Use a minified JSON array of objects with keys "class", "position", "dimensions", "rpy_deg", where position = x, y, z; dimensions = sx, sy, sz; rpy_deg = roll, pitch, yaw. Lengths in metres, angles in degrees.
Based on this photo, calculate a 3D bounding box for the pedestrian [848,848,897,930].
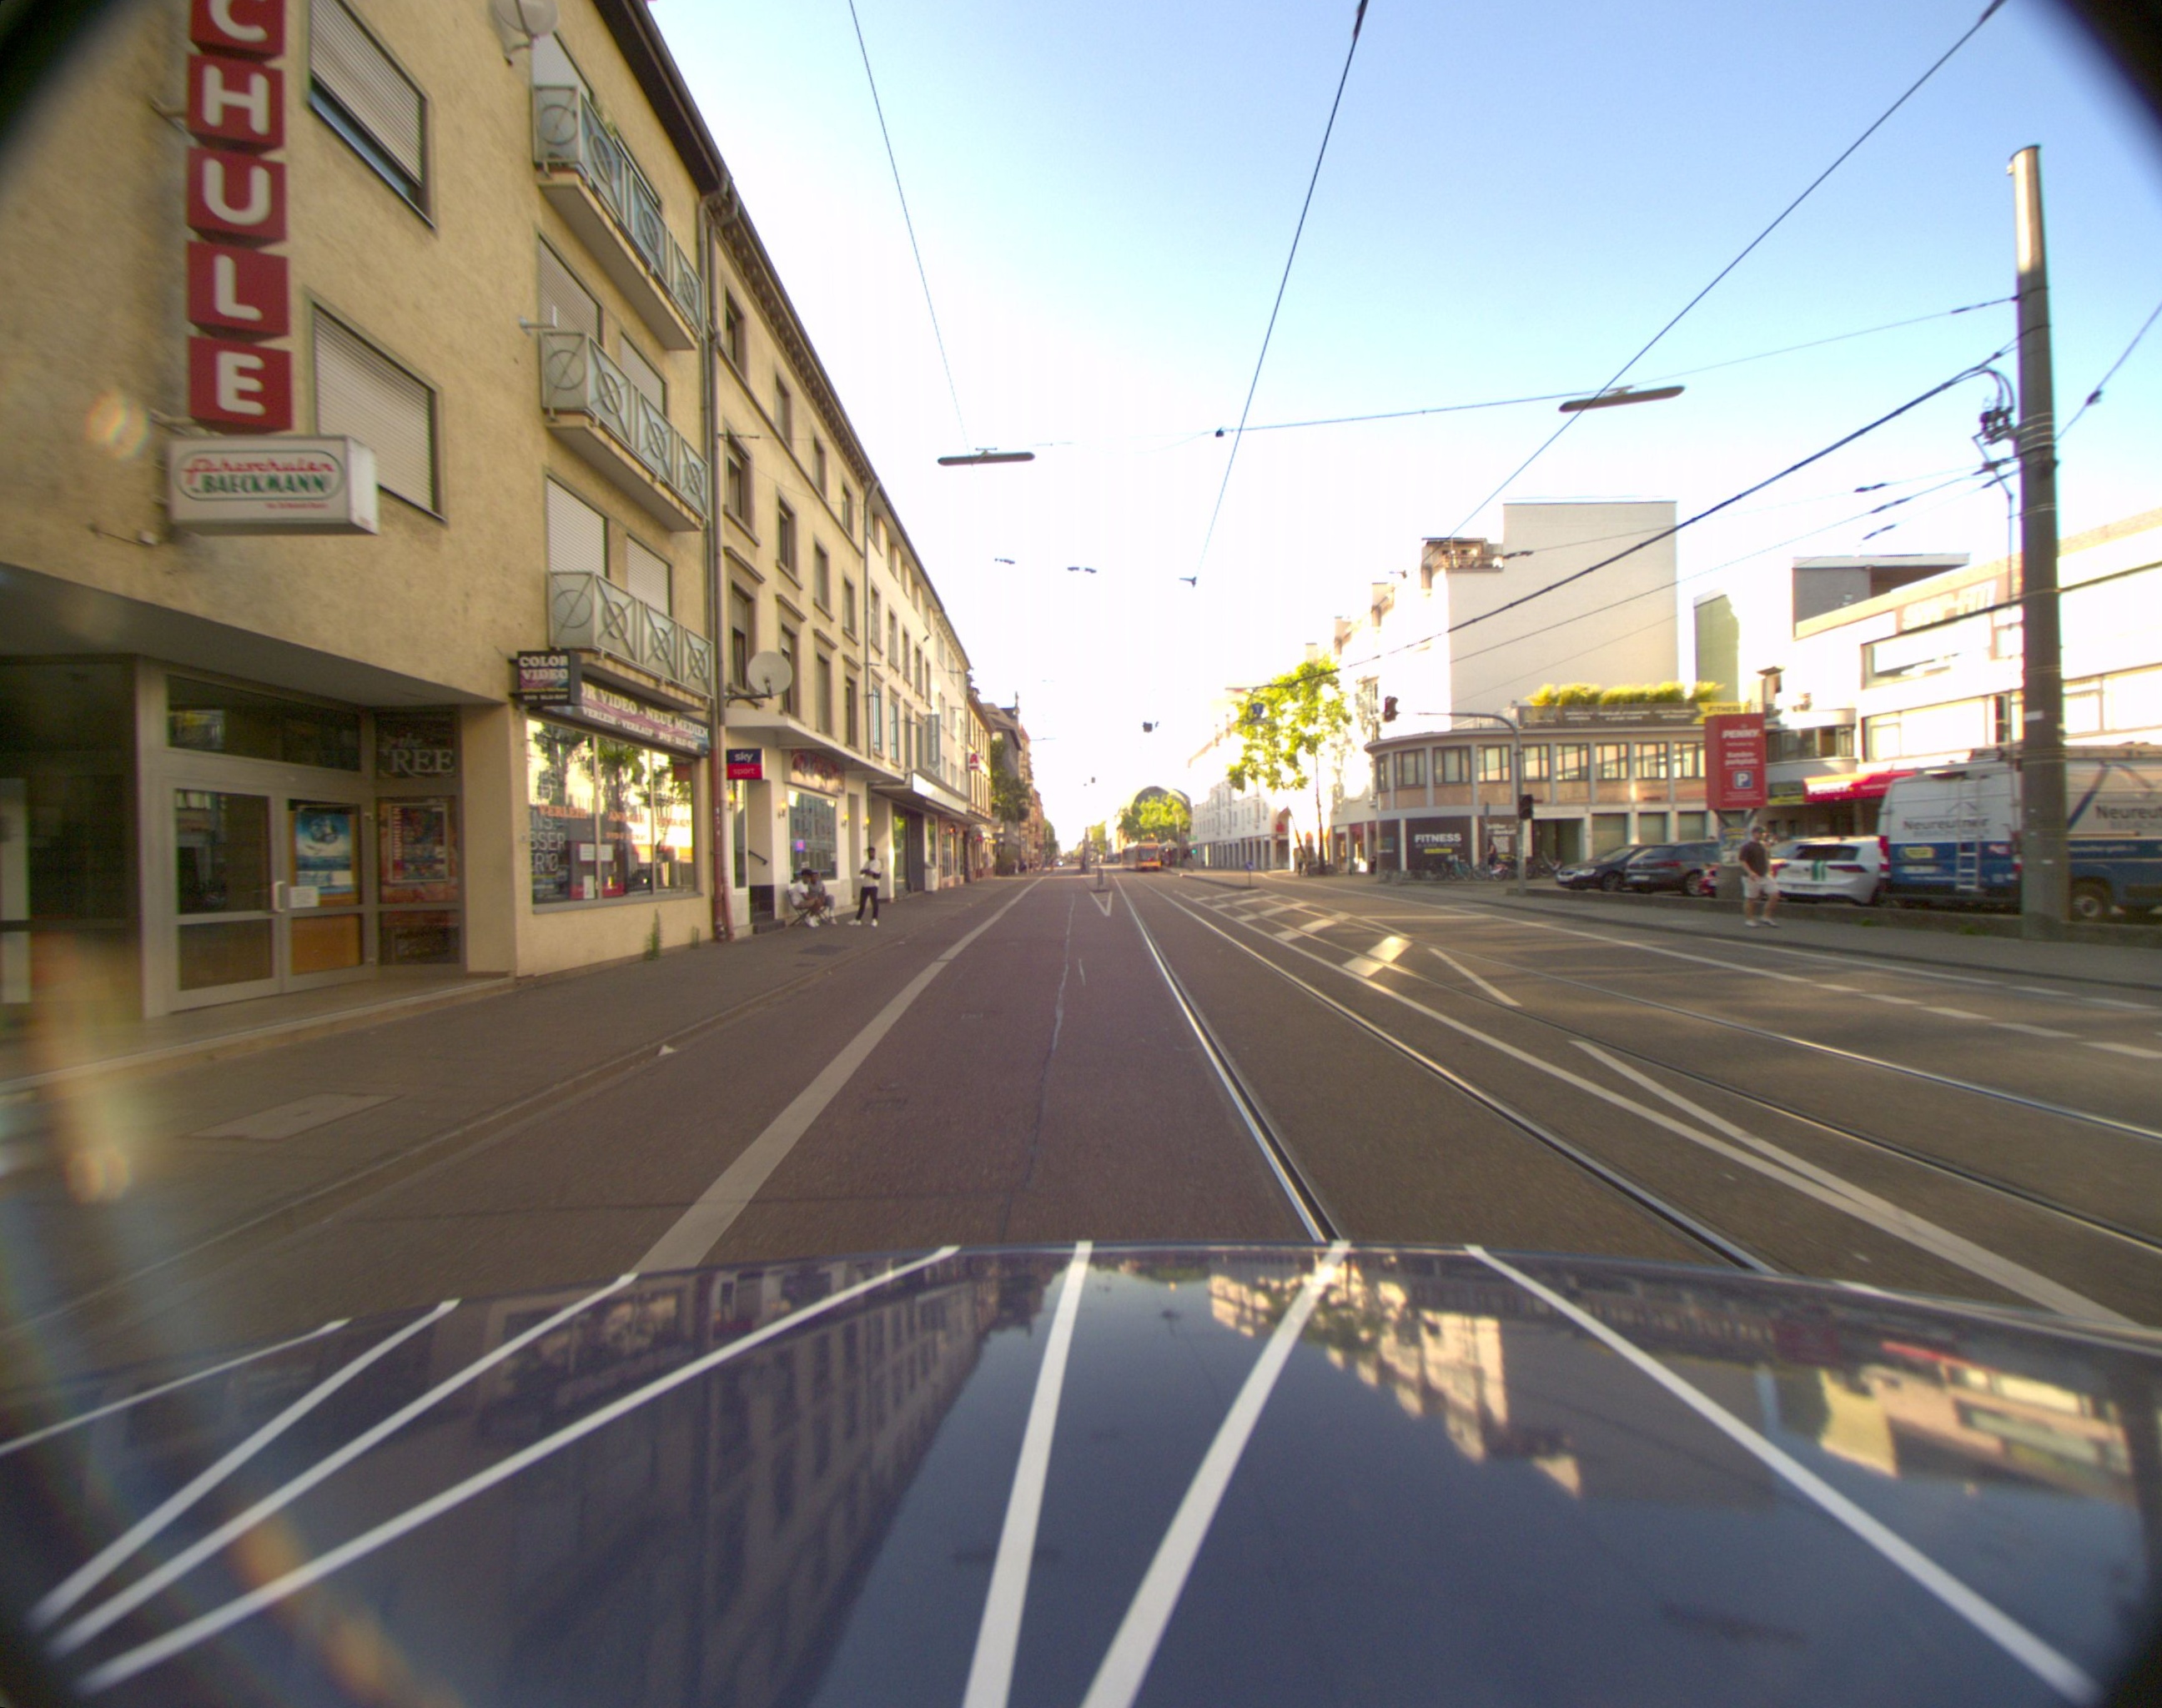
[{"class":"pedestrian","position":[-4.820,0.804,17.591],"dimensions":[0.705,1.801,0.680],"rpy_deg":[5,0,15]}]

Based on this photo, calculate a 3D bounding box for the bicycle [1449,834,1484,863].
[{"class":"bicycle","position":[16.302,-0.208,32.139],"dimensions":[0.444,1.180,1.831],"rpy_deg":[-1,-1,-3]}]

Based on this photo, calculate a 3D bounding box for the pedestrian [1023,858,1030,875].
[{"class":"pedestrian","position":[-5.550,1.259,76.963],"dimensions":[0.651,1.706,0.805],"rpy_deg":[-1,0,-7]}]

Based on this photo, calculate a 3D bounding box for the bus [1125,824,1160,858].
[{"class":"bus","position":[6.769,-1.307,85.040],"dimensions":[2.818,3.546,13.678],"rpy_deg":[-1,0,0]}]

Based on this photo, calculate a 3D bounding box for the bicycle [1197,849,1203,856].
[{"class":"bicycle","position":[15.901,-0.181,101.250],"dimensions":[0.518,0.983,1.727],"rpy_deg":[-2,0,0]}]

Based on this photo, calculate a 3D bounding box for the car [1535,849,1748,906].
[{"class":"car","position":[16.505,0.692,22.551],"dimensions":[4.907,1.574,1.879],"rpy_deg":[-1,-1,0]}]

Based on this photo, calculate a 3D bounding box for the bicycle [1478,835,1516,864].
[{"class":"bicycle","position":[17.336,-0.163,31.713],"dimensions":[0.449,1.180,1.831],"rpy_deg":[-1,-1,-3]}]

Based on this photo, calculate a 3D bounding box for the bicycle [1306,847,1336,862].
[{"class":"bicycle","position":[15.991,0.021,50.690],"dimensions":[1.849,0.907,0.389],"rpy_deg":[-2,0,5]}]

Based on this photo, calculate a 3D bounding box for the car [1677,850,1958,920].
[{"class":"car","position":[16.637,0.685,17.345],"dimensions":[4.600,1.466,1.879],"rpy_deg":[-1,-1,0]}]

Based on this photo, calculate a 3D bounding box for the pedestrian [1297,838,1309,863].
[{"class":"pedestrian","position":[15.288,-0.256,52.210],"dimensions":[0.630,1.706,0.826],"rpy_deg":[-1,0,27]}]

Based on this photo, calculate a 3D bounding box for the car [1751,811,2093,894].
[{"class":"car","position":[16.201,-0.008,14.831],"dimensions":[4.600,1.466,1.879],"rpy_deg":[-1,-1,0]}]

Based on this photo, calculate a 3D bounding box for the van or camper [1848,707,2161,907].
[{"class":"van or camper","position":[16.445,-0.757,12.275],"dimensions":[5.620,2.810,2.315],"rpy_deg":[-3,0,0]}]

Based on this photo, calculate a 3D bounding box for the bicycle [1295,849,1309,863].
[{"class":"bicycle","position":[15.100,0.151,51.865],"dimensions":[0.389,0.907,1.851],"rpy_deg":[-2,0,0]}]

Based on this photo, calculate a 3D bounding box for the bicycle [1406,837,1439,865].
[{"class":"bicycle","position":[14.824,-0.121,33.025],"dimensions":[0.447,1.180,1.830],"rpy_deg":[-1,-1,-7]}]

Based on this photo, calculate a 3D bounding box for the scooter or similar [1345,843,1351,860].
[{"class":"scooter or similar","position":[17.376,-0.145,49.437],"dimensions":[0.335,1.105,1.182],"rpy_deg":[-1,0,23]}]

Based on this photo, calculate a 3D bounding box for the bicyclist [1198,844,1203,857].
[{"class":"bicyclist","position":[15.883,-0.520,101.236],"dimensions":[0.515,1.690,0.807],"rpy_deg":[-2,0,0]}]

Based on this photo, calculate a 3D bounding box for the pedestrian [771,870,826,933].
[{"class":"pedestrian","position":[-5.942,0.996,16.003],"dimensions":[0.833,1.248,0.705],"rpy_deg":[5,-1,-36]}]

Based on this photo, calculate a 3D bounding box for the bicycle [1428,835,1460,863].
[{"class":"bicycle","position":[15.343,-0.192,32.191],"dimensions":[0.441,1.180,1.831],"rpy_deg":[-1,-1,-1]}]

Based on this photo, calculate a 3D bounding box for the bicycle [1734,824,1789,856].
[{"class":"bicycle","position":[25.517,-0.532,28.501],"dimensions":[1.833,1.164,0.682],"rpy_deg":[0,0,-17]}]

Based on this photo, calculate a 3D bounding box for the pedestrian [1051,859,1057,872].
[{"class":"pedestrian","position":[-3.804,1.649,105.964],"dimensions":[0.694,1.760,0.697],"rpy_deg":[-1,0,4]}]

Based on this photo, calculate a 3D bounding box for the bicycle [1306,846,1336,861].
[{"class":"bicycle","position":[16.324,-0.029,51.743],"dimensions":[1.849,0.907,0.389],"rpy_deg":[-2,-2,5]}]

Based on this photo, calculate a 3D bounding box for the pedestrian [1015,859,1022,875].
[{"class":"pedestrian","position":[-6.316,1.338,76.534],"dimensions":[0.651,1.569,0.682],"rpy_deg":[-1,0,-7]}]

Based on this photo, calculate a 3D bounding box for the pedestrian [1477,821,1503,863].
[{"class":"pedestrian","position":[16.857,-0.477,31.348],"dimensions":[0.682,1.687,0.683],"rpy_deg":[-1,0,-3]}]

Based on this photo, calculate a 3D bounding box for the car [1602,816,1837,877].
[{"class":"car","position":[16.590,-0.174,19.915],"dimensions":[4.600,1.466,1.879],"rpy_deg":[-1,-1,0]}]

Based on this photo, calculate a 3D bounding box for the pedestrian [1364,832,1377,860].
[{"class":"pedestrian","position":[18.416,-0.498,48.310],"dimensions":[0.630,1.706,0.827],"rpy_deg":[-1,0,33]}]

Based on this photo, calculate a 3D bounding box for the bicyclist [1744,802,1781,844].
[{"class":"bicyclist","position":[25.587,-1.146,28.525],"dimensions":[0.838,1.540,0.690],"rpy_deg":[-1,0,-17]}]

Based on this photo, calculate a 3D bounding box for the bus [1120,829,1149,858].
[{"class":"bus","position":[6.760,-1.234,98.483],"dimensions":[2.818,3.546,13.679],"rpy_deg":[-1,0,0]}]

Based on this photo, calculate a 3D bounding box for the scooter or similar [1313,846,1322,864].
[{"class":"scooter or similar","position":[17.223,0.050,55.337],"dimensions":[0.378,1.271,1.181],"rpy_deg":[-4,0,11]}]

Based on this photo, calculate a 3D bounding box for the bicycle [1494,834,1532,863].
[{"class":"bicycle","position":[17.941,-0.202,31.602],"dimensions":[0.449,1.180,1.831],"rpy_deg":[-1,-1,-3]}]

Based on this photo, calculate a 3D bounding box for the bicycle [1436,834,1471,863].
[{"class":"bicycle","position":[15.781,-0.230,32.228],"dimensions":[0.449,1.180,1.831],"rpy_deg":[-1,-1,-3]}]

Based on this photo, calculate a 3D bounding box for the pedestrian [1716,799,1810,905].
[{"class":"pedestrian","position":[12.106,-0.028,13.514],"dimensions":[0.835,1.821,0.909],"rpy_deg":[-1,0,-1]}]

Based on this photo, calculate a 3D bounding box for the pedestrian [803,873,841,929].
[{"class":"pedestrian","position":[-5.860,1.048,17.177],"dimensions":[0.708,1.167,1.014],"rpy_deg":[5,-1,-20]}]

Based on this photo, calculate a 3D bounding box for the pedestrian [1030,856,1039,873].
[{"class":"pedestrian","position":[-4.857,1.091,79.483],"dimensions":[0.807,1.789,0.761],"rpy_deg":[-1,0,0]}]

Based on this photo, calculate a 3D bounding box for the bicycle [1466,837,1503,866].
[{"class":"bicycle","position":[16.816,-0.093,31.723],"dimensions":[0.449,1.180,1.831],"rpy_deg":[-1,-1,-3]}]
